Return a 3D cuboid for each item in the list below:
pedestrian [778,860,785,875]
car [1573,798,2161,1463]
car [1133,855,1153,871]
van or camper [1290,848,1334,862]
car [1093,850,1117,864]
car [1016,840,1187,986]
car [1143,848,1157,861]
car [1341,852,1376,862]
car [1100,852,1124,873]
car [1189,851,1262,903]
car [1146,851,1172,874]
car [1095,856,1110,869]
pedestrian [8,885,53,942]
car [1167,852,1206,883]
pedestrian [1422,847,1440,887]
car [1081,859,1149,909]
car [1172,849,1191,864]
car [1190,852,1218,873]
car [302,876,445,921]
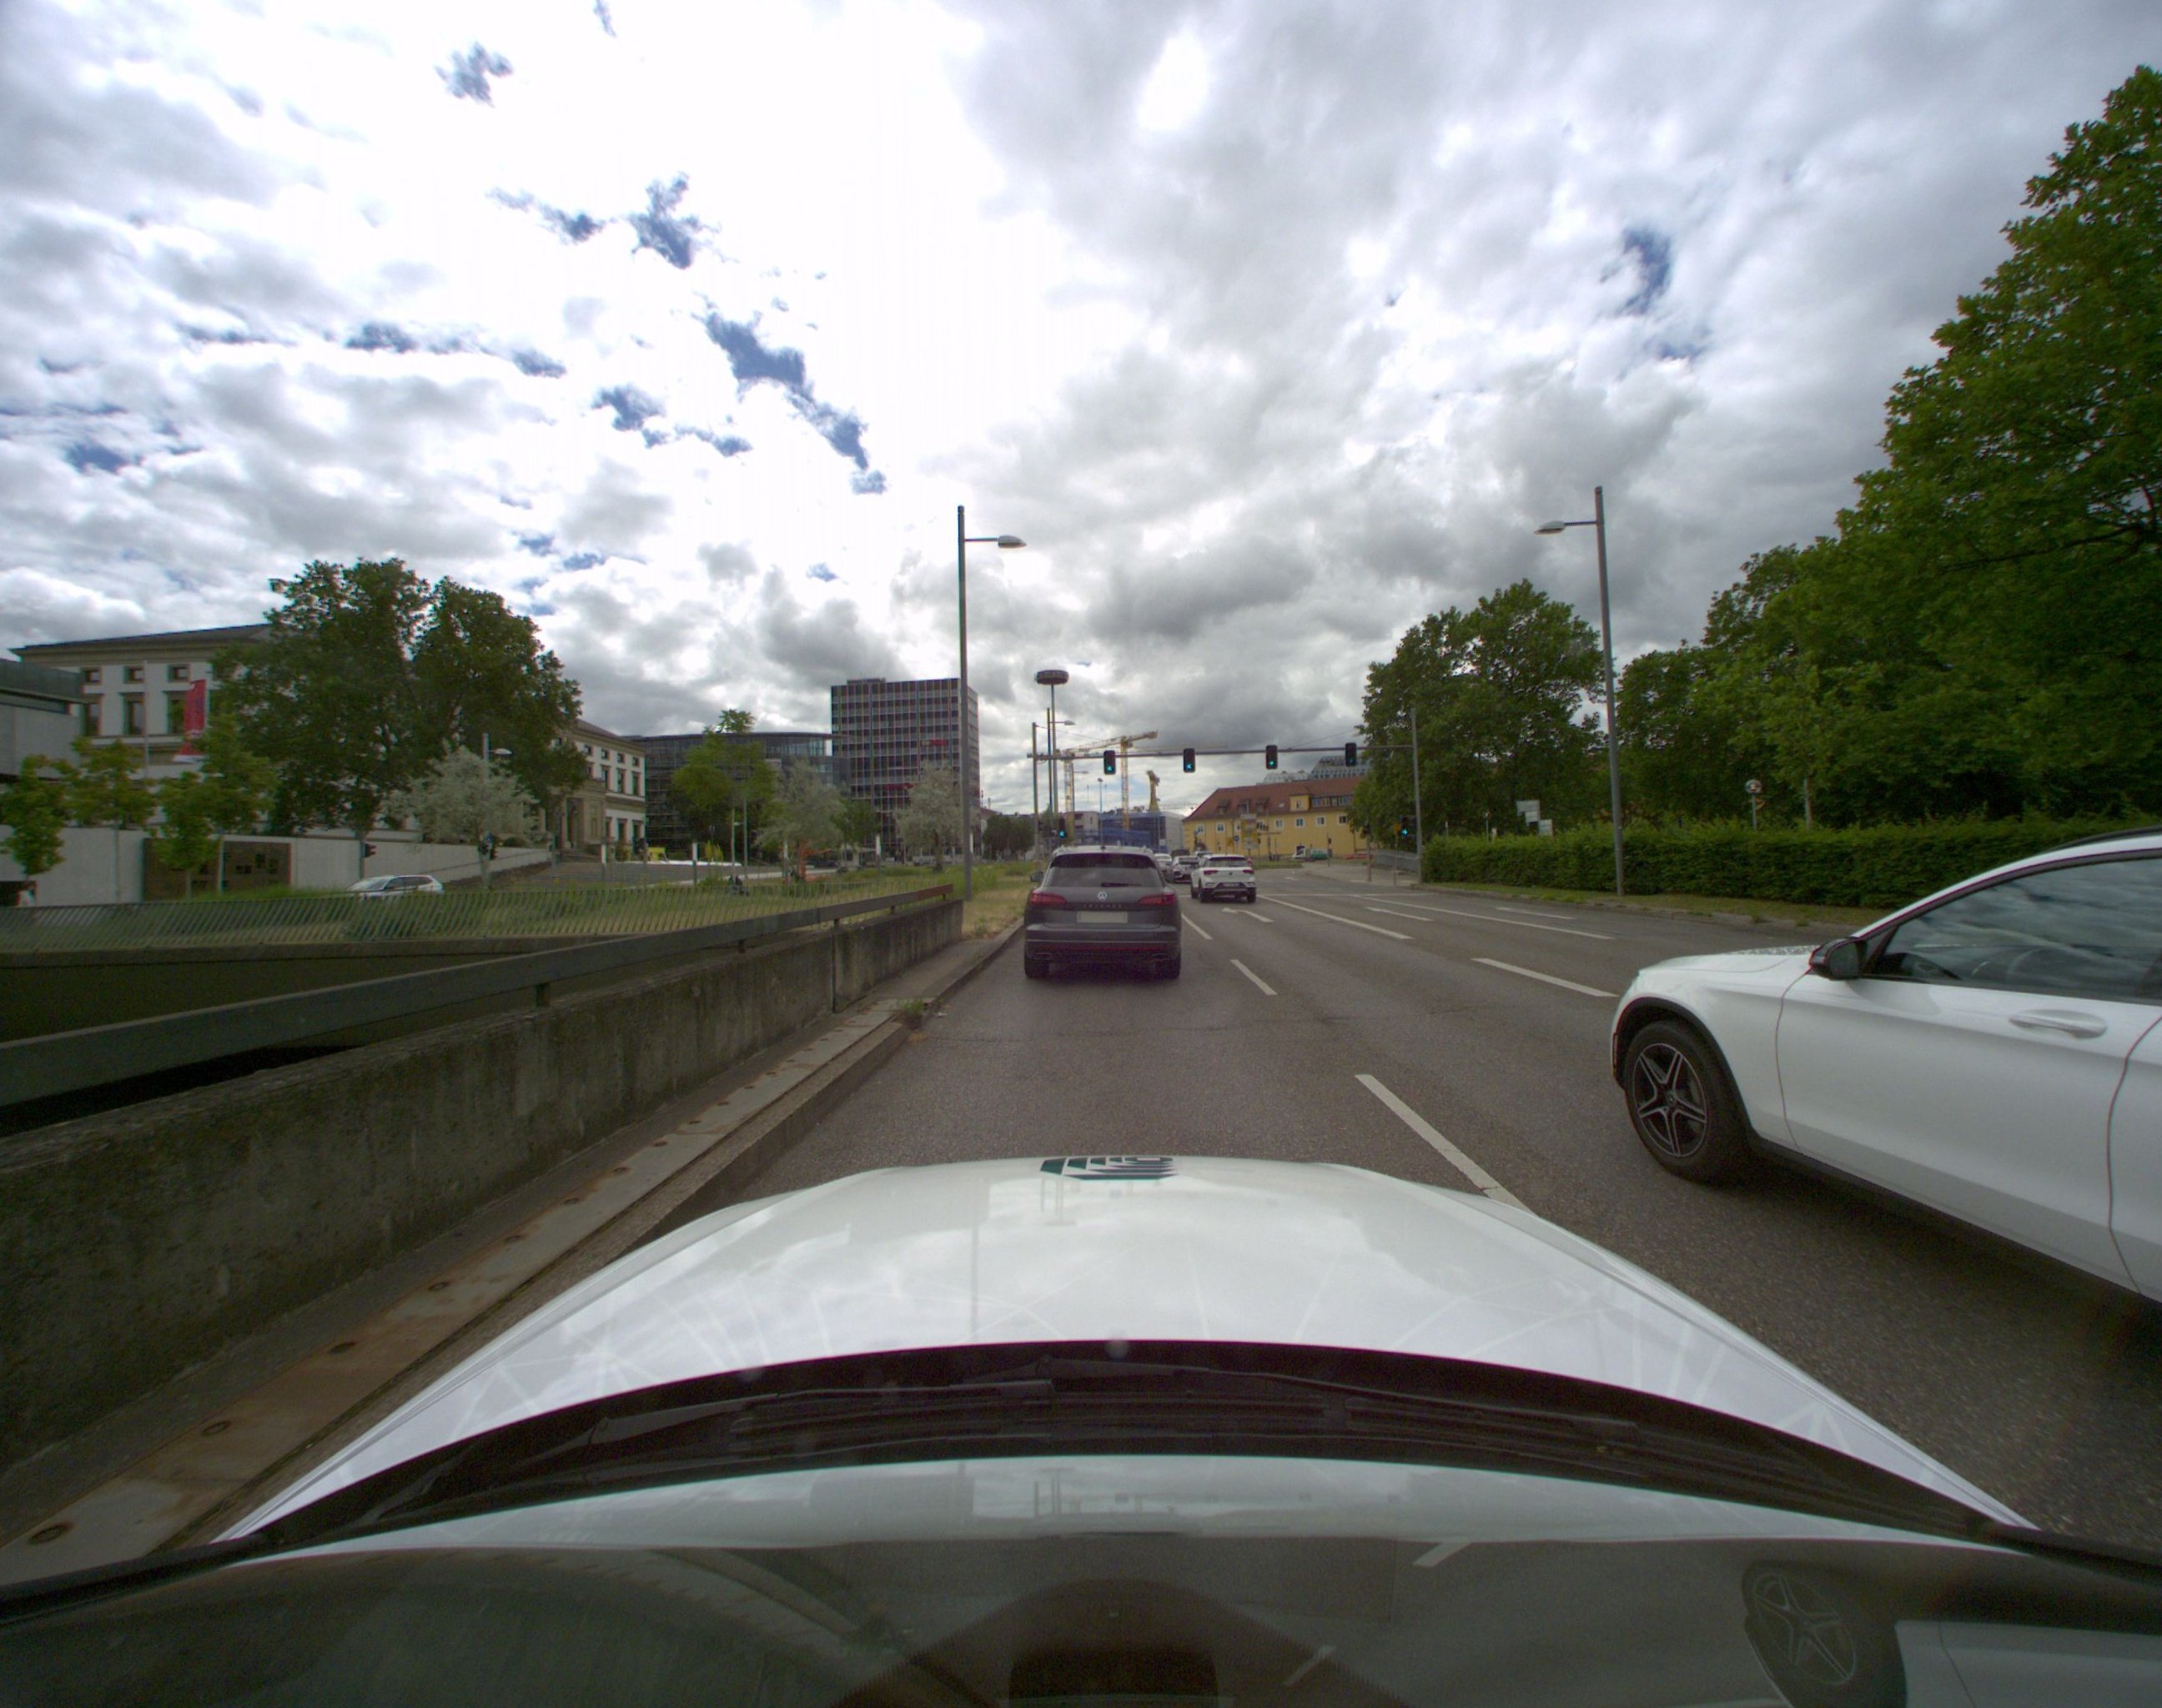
[{"bbox_3d":[-33.069,1.525,89.983,0.522,1.649,0.651,0,-1,1],"label":"pedestrian"},{"bbox_3d":[3.593,0.672,2.375,1.812,1.647,4.382,-1,0,2],"label":"car"},{"bbox_3d":[6.854,0.982,90.821,2.130,1.728,4.074,-1,-1,3],"label":"car"},{"bbox_3d":[34.928,0.192,123.283,5.947,2.014,2.032,-1,-1,38],"label":"van or camper"},{"bbox_3d":[2.589,0.314,89.207,2.240,1.502,4.604,-1,0,-4],"label":"car"},{"bbox_3d":[0.317,0.668,11.288,1.925,1.647,4.002,-1,0,2],"label":"car"},{"bbox_3d":[11.164,0.046,131.640,1.986,2.013,4.002,-1,0,2],"label":"car"},{"bbox_3d":[40.581,0.478,119.138,4.632,1.420,1.607,-1,-1,34],"label":"car"},{"bbox_3d":[2.423,0.637,63.727,1.807,1.496,3.908,-1,0,2],"label":"car"},{"bbox_3d":[4.746,0.725,27.209,1.886,1.585,3.803,-1,0,2],"label":"car"},{"bbox_3d":[5.423,0.556,56.497,1.710,1.502,3.988,-1,0,6],"label":"car"},{"bbox_3d":[2.707,1.075,101.372,1.711,1.502,3.985,-1,0,4],"label":"car"},{"bbox_3d":[-33.258,1.879,25.788,0.538,1.733,0.664,-1,0,2],"label":"pedestrian"},{"bbox_3d":[5.449,0.690,42.549,1.711,1.502,4.148,-1,0,3],"label":"car"},{"bbox_3d":[15.333,0.570,35.649,0.477,1.764,0.620,-1,-1,-1],"label":"pedestrian"},{"bbox_3d":[1.092,0.915,26.189,1.986,1.387,4.002,-1,0,2],"label":"car"},{"bbox_3d":[10.294,0.204,83.656,1.711,1.502,3.985,-1,0,3],"label":"car"},{"bbox_3d":[9.456,0.629,62.697,1.795,1.502,3.985,-1,0,3],"label":"car"},{"bbox_3d":[-29.328,1.790,33.973,1.711,1.574,4.617,-1,0,3],"label":"car"}]
